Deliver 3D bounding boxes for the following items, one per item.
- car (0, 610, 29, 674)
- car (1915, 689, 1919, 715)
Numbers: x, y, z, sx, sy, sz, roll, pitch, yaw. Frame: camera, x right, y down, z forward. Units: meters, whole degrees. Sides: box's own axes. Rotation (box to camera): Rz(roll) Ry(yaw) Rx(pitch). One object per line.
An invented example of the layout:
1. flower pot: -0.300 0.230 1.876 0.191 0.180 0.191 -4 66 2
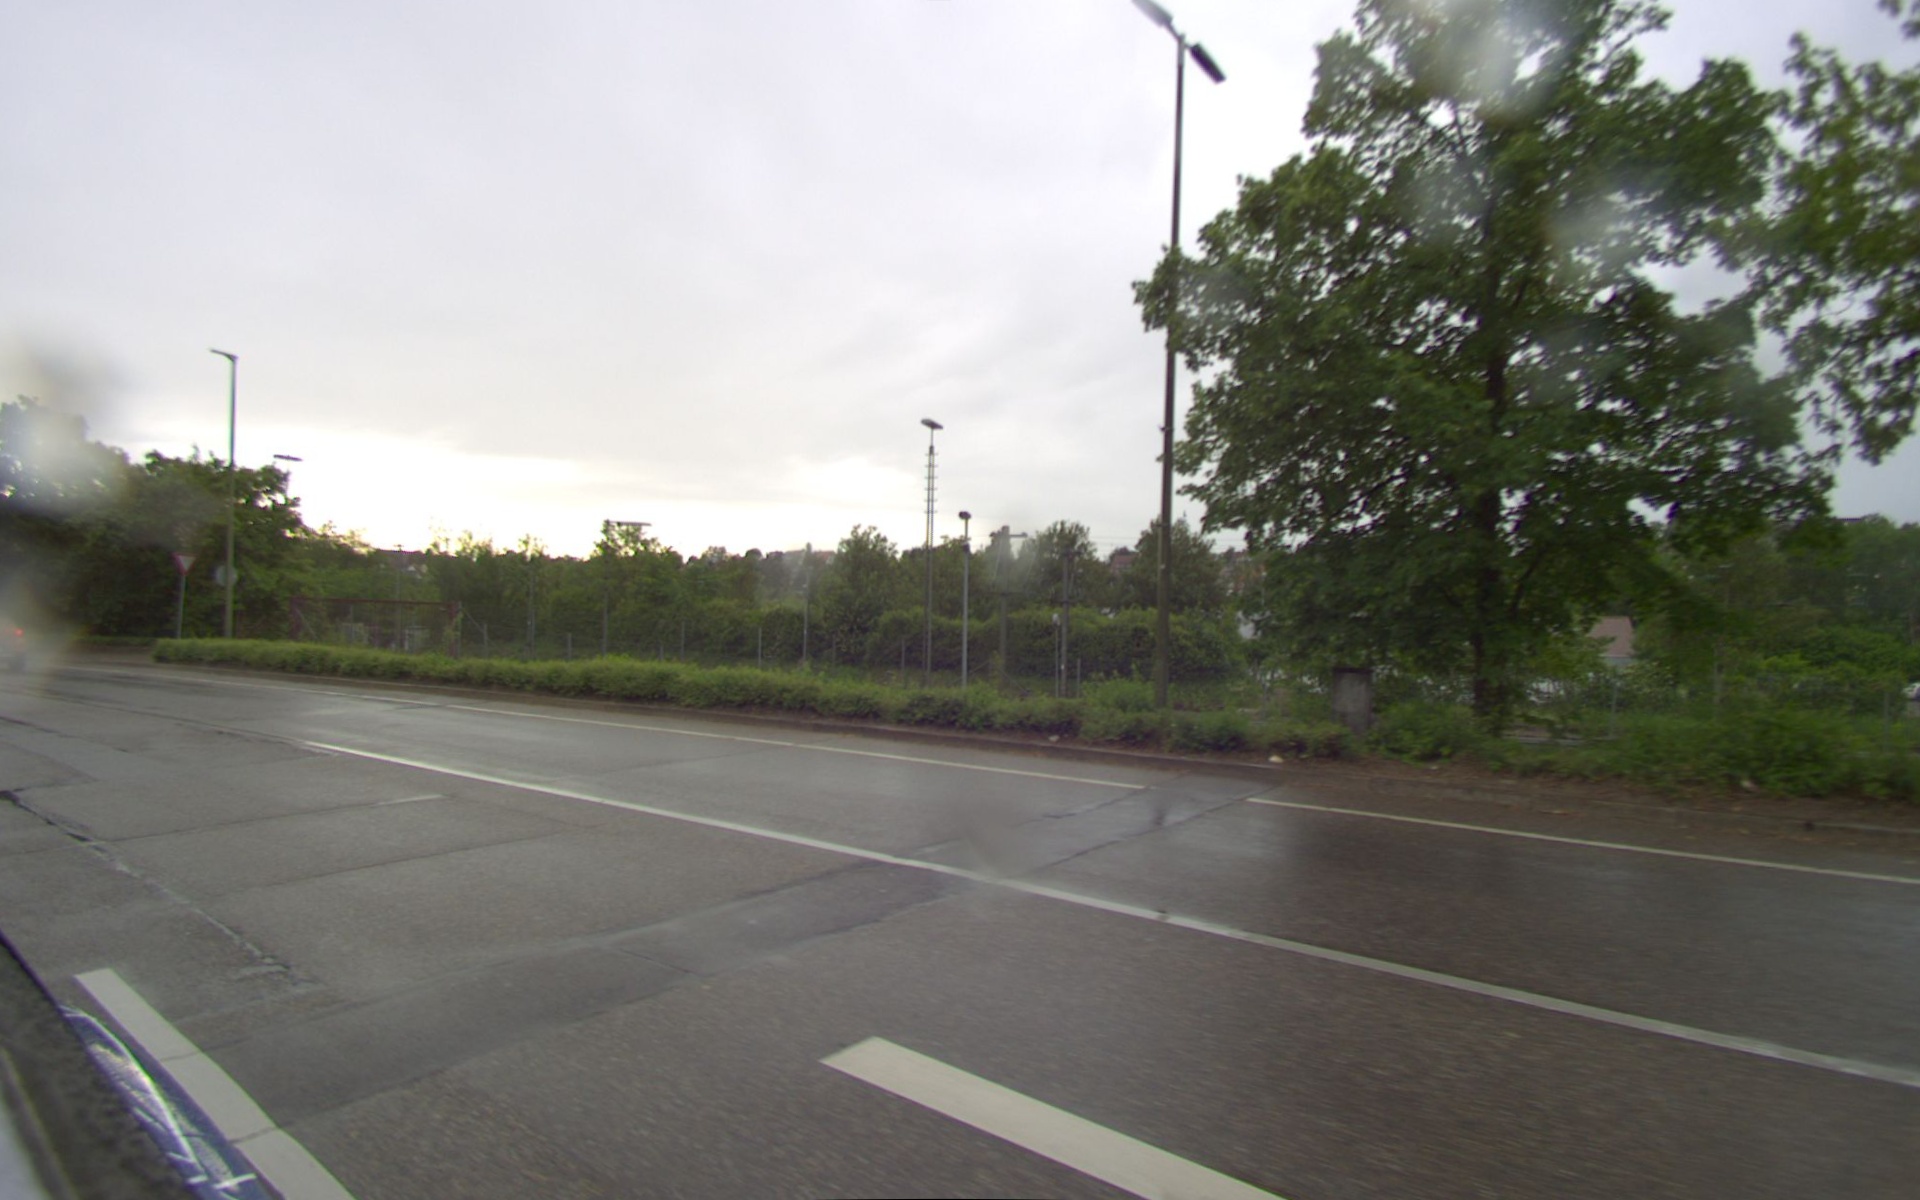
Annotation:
1. car: -25.030 1.064 25.164 3.986 1.547 1.741 -2 -2 32
2. car: 56.221 5.770 56.362 3.980 1.420 1.784 -1 -2 27
